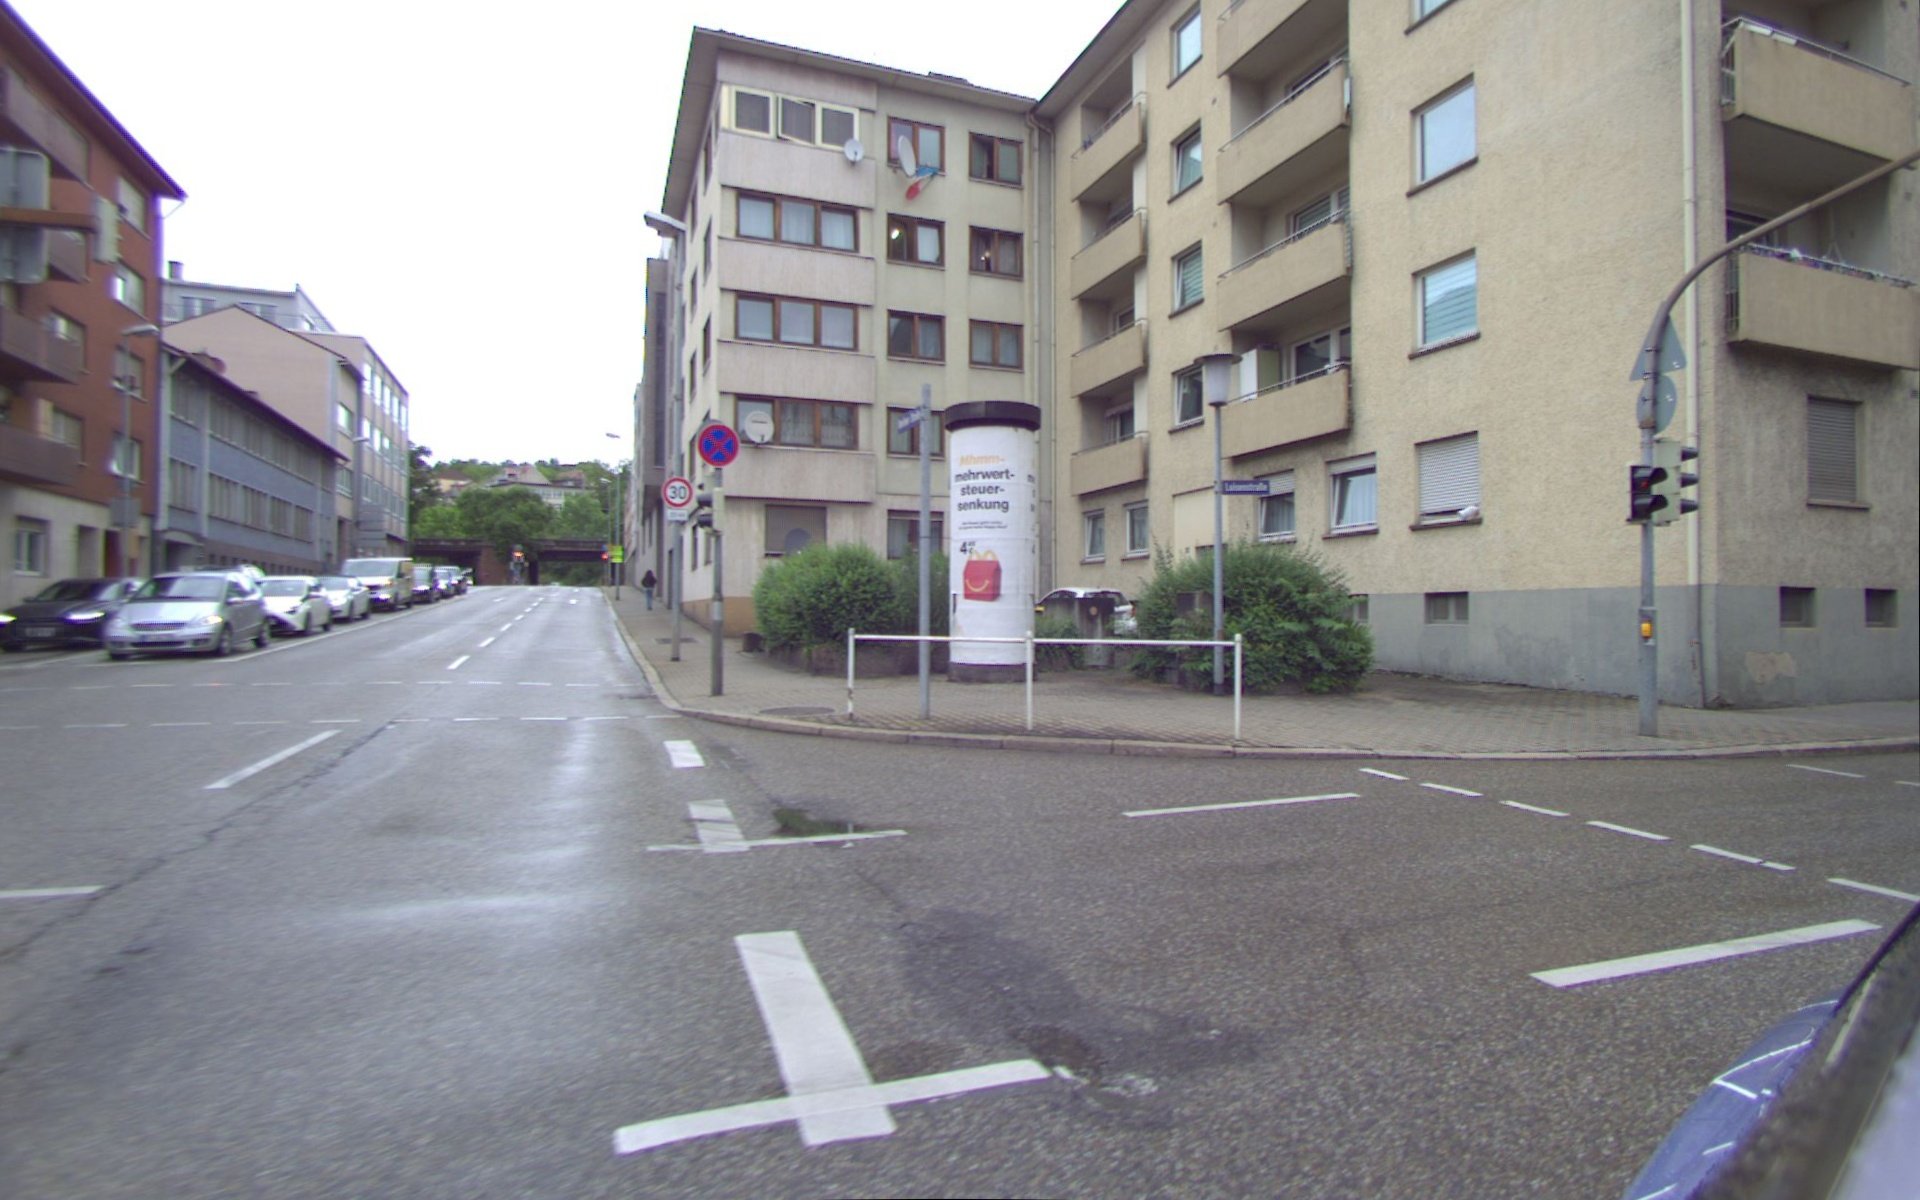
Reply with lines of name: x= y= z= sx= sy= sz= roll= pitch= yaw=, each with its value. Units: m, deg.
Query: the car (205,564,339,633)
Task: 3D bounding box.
car: x=-16.937 y=-0.095 z=25.133 sx=1.811 sy=1.574 sz=4.009 roll=0 pitch=2 yaw=-20

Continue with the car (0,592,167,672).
car: x=-18.964 y=0.615 z=21.951 sx=1.837 sy=1.460 sz=4.008 roll=-1 pitch=2 yaw=-24

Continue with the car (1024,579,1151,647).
car: x=3.105 y=0.263 z=25.246 sx=1.729 sy=1.492 sz=3.333 roll=-1 pitch=3 yaw=-22

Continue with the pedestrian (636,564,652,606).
pedestrian: x=-13.179 y=-0.630 z=42.214 sx=0.525 sy=1.722 sz=0.504 roll=-1 pitch=-1 yaw=-25

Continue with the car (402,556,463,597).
car: x=-26.098 y=-1.136 z=50.190 sx=1.876 sy=1.882 sz=4.865 roll=-1 pitch=0 yaw=-18

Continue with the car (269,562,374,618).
car: x=-19.299 y=-0.342 z=30.790 sx=1.811 sy=1.574 sz=4.009 roll=0 pitch=2 yaw=-19

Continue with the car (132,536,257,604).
car: x=-21.574 y=-0.791 z=28.703 sx=1.757 sy=1.750 sz=4.007 roll=-1 pitch=-1 yaw=-21

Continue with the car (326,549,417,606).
car: x=-21.638 y=-0.777 z=37.387 sx=1.903 sy=1.940 sz=4.865 roll=-1 pitch=0 yaw=-18

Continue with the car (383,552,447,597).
car: x=-23.840 y=-1.074 z=44.419 sx=1.690 sy=1.882 sz=4.358 roll=-1 pitch=0 yaw=-18

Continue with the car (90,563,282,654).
car: x=-14.865 y=0.088 z=19.709 sx=1.802 sy=1.574 sz=4.009 roll=0 pitch=2 yaw=-19

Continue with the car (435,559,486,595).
car: x=-27.999 y=-1.242 z=56.890 sx=1.876 sy=1.882 sz=4.865 roll=-1 pitch=0 yaw=-18
